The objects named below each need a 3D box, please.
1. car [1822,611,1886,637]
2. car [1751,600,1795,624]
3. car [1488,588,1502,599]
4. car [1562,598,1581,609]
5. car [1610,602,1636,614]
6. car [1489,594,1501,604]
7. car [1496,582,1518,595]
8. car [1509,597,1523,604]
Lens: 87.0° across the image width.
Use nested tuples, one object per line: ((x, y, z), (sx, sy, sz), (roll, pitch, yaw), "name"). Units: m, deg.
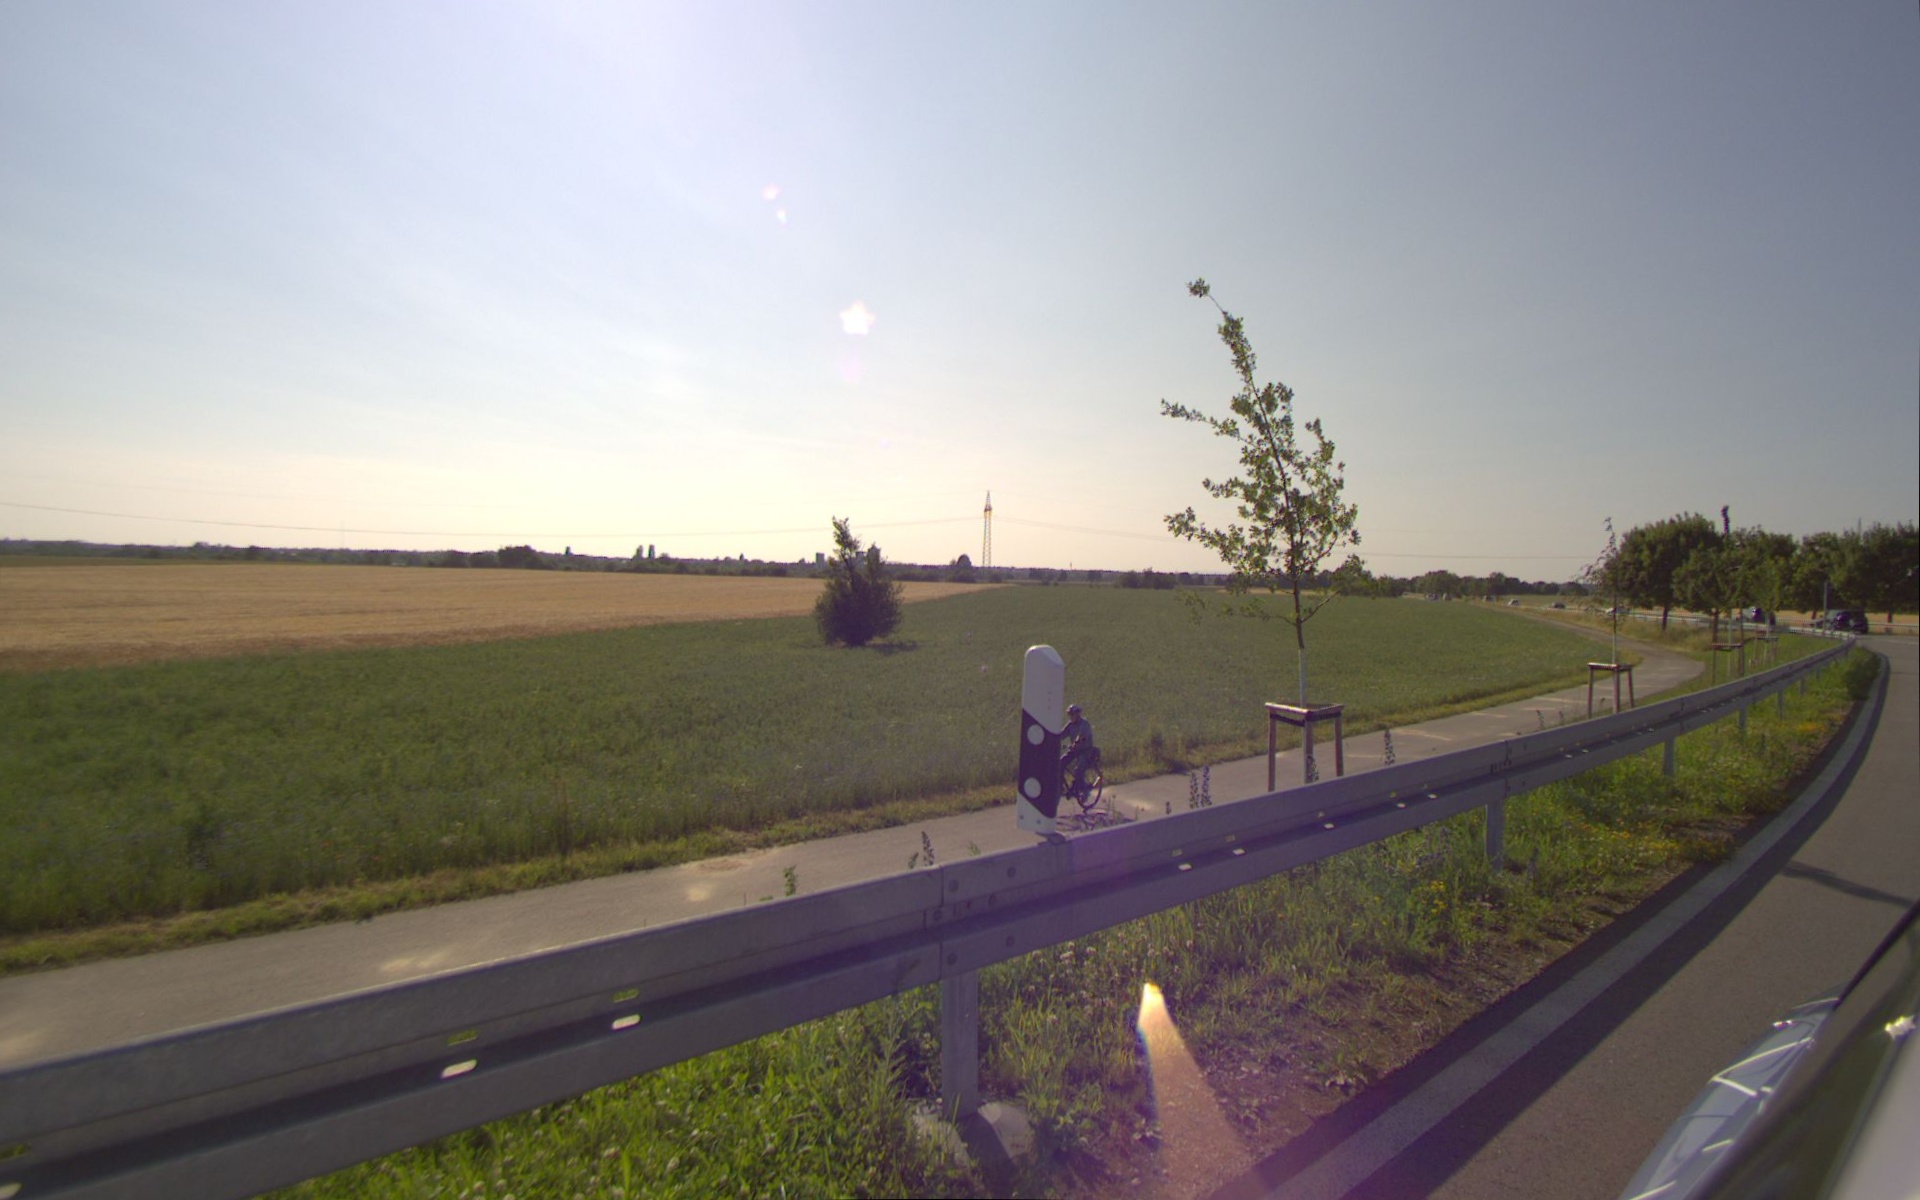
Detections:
((61.411, 1.629, 69.591), (1.979, 1.613, 4.821), (0, 0, 25), "car")
((69.194, 1.014, 86.223), (1.870, 1.820, 5.046), (-1, 2, 26), "car")
((99.135, -1.158, 187.522), (1.767, 2.039, 3.975), (-1, 1, 19), "car")
((97.445, 0.588, 161.302), (1.820, 1.563, 4.219), (-1, 2, 19), "car")
((84.972, 1.063, 129.656), (1.836, 1.467, 4.127), (-1, 0, 20), "car")
((122.215, -0.203, 231.168), (1.895, 2.038, 4.751), (0, 2, 21), "car")
((89.501, -1.891, 165.760), (2.788, 2.039, 6.051), (-1, 1, 25), "car")
((110.725, 0.078, 201.516), (1.735, 1.447, 3.821), (0, 1, 20), "car")
